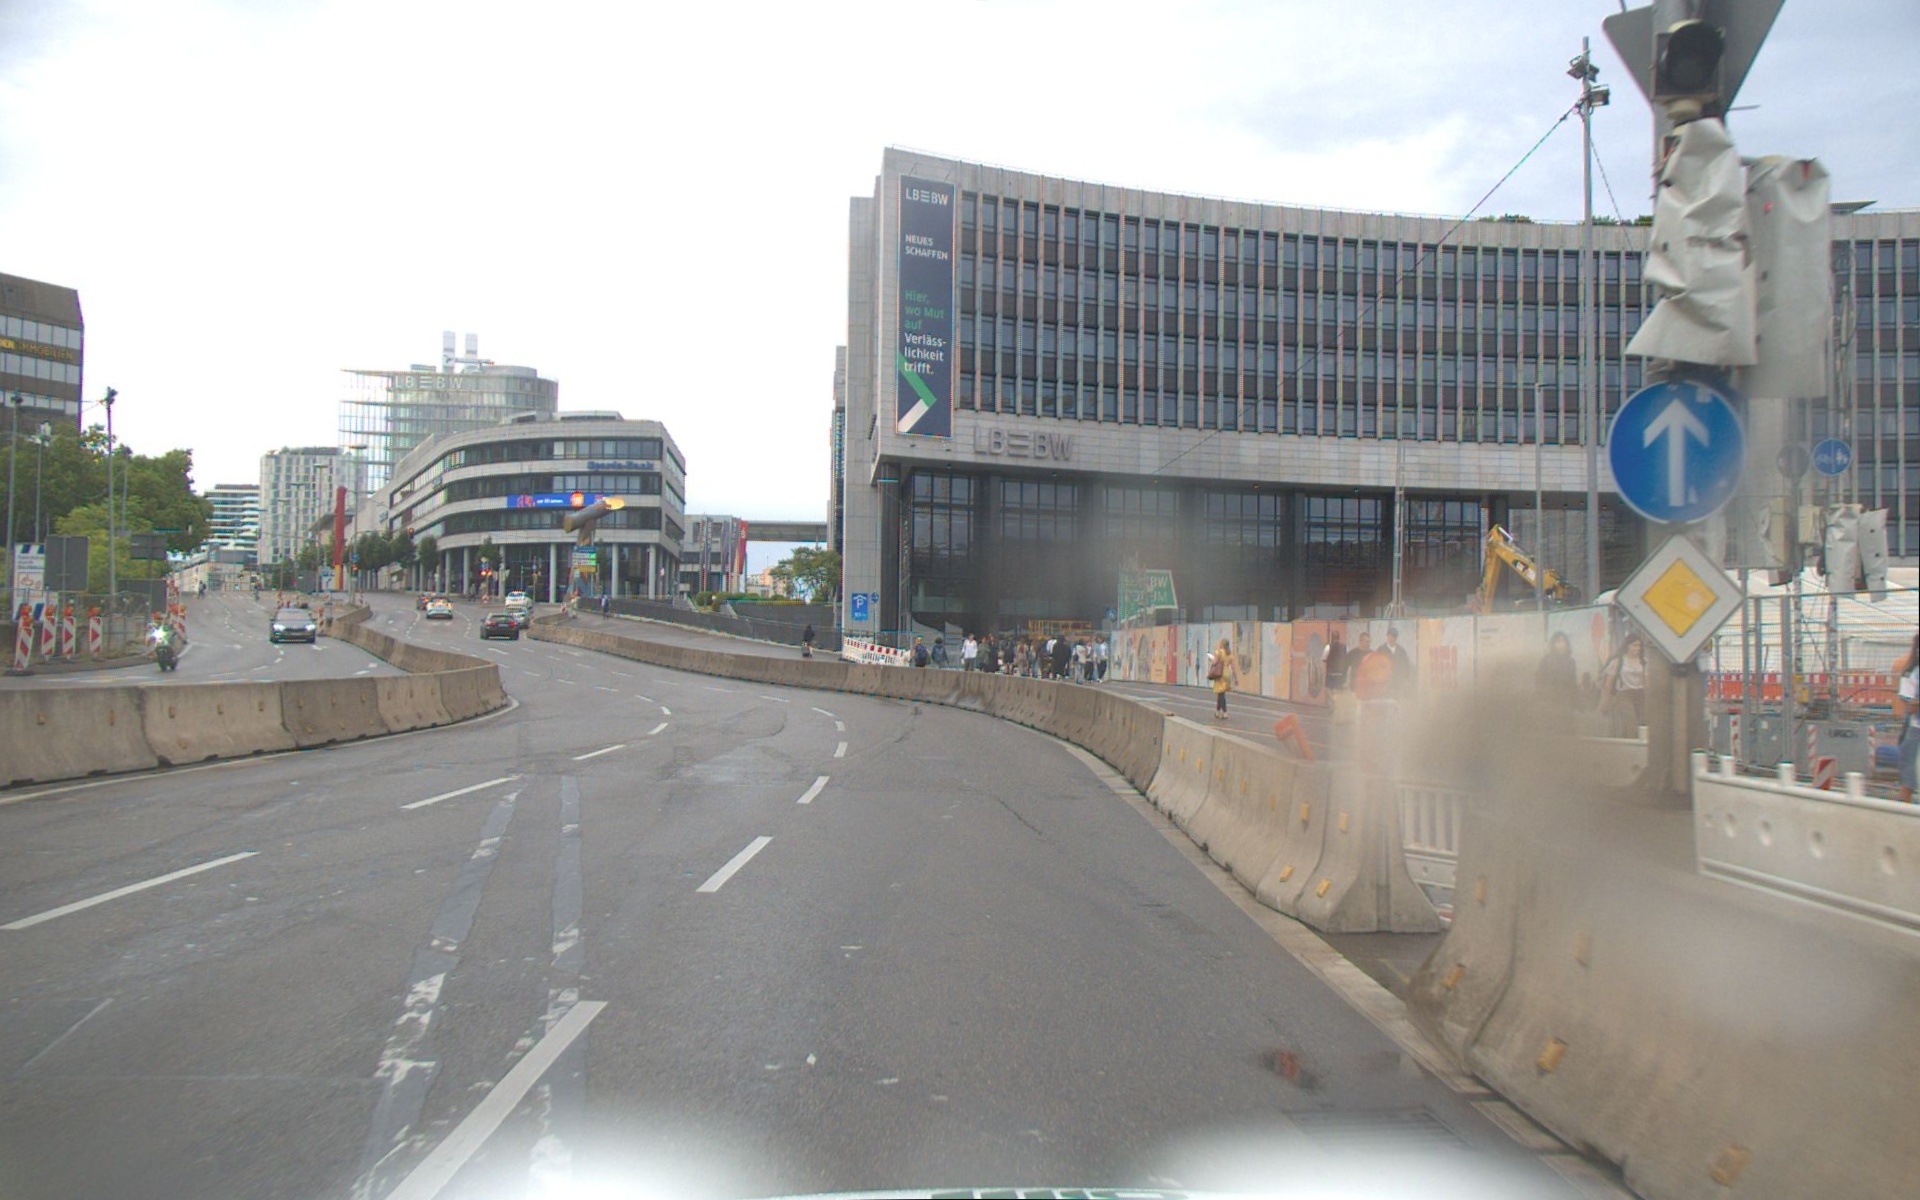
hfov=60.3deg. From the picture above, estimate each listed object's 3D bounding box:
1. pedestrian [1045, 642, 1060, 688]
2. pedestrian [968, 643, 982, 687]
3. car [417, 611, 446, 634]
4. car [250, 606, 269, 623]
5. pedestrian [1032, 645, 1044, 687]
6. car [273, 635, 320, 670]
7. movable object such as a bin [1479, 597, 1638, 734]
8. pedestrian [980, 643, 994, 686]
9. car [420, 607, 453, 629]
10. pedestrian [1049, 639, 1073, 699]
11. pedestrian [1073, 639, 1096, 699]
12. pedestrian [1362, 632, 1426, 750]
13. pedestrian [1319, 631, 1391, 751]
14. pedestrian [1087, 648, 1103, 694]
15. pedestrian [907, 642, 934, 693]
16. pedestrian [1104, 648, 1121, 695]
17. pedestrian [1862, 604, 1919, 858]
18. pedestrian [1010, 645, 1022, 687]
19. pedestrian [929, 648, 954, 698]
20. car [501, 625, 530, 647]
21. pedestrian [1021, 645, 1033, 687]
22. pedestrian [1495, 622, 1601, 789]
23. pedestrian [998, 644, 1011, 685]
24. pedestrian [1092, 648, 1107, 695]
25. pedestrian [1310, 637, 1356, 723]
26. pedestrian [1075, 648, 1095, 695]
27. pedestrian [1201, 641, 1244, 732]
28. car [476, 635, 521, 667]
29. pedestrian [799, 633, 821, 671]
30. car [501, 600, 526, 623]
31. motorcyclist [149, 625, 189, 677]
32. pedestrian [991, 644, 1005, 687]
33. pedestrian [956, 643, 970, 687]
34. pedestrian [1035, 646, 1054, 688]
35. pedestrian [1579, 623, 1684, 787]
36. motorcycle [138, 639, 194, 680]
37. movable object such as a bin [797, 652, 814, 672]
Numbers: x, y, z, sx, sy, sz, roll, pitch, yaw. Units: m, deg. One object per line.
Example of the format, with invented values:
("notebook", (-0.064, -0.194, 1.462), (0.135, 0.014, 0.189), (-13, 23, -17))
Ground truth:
("pedestrian", (3.774, 2.660, 67.322), (0.518, 1.850, 0.536), (1, -2, -2))
("pedestrian", (0.608, 2.617, 66.633), (0.439, 1.735, 0.646), (1, -2, -7))
("car", (-43.085, 1.837, 134.894), (1.961, 1.836, 4.247), (2, -2, -15))
("car", (-66.179, 1.380, 156.285), (1.580, 1.376, 3.726), (3, -5, -23))
("pedestrian", (3.288, 2.780, 69.851), (0.438, 1.735, 0.647), (1, -2, 7))
("car", (-29.853, 2.371, 74.387), (1.583, 1.376, 3.720), (3, -5, -27))
("movable object such as a bin", (18.744, 2.058, 51.940), (3.047, 4.101, 3.667), (2, -3, -25))
("pedestrian", (1.079, 2.599, 66.715), (0.444, 1.735, 0.646), (1, -2, -7))
("car", (-38.082, 1.328, 120.322), (1.720, 1.532, 3.720), (2, -3, -27))
("pedestrian", (3.540, 2.409, 57.999), (0.768, 2.049, 0.863), (1, -2, 5))
("pedestrian", (4.338, 2.394, 57.750), (0.768, 2.049, 0.863), (1, -2, 5))
("pedestrian", (7.085, 1.477, 27.021), (0.764, 1.895, 0.810), (1, -2, -6))
("pedestrian", (6.239, 1.436, 26.193), (0.803, 1.860, 1.110), (0, -3, -4))
("pedestrian", (5.165, 2.706, 63.488), (0.490, 1.735, 0.732), (1, -2, -3))
("pedestrian", (-1.334, 2.260, 55.382), (0.738, 1.671, 0.820), (1, -2, -14))
("pedestrian", (5.663, 2.653, 61.397), (0.492, 1.735, 0.646), (1, -2, -3))
("pedestrian", (7.519, 0.989, 12.566), (0.764, 1.895, 0.948), (1, -2, -6))
("pedestrian", (2.360, 2.786, 69.985), (0.438, 1.735, 0.647), (1, -2, 7))
("pedestrian", (-0.610, 2.448, 55.580), (0.647, 1.671, 0.820), (1, -2, -14))
("car", (-29.311, 2.338, 108.978), (1.795, 1.376, 3.848), (2, -1, -16))
("pedestrian", (2.823, 2.781, 69.923), (0.438, 1.735, 0.647), (1, -2, 7))
("pedestrian", (6.892, 1.222, 19.418), (0.853, 1.895, 0.947), (1, -2, -6))
("pedestrian", (1.889, 2.740, 70.042), (0.438, 1.735, 0.647), (1, -2, 7))
("pedestrian", (5.177, 2.645, 61.346), (0.439, 1.735, 0.646), (1, -2, -3))
("pedestrian", (8.331, 1.782, 36.941), (0.764, 1.895, 0.810), (0, -2, -6))
("pedestrian", (4.632, 2.637, 61.325), (0.613, 1.735, 0.646), (1, -2, -3))
("pedestrian", (5.564, 1.830, 35.089), (0.718, 1.887, 0.830), (1, -3, -4))
("car", (-24.863, 2.777, 89.033), (1.653, 1.535, 3.714), (3, -5, -25))
("pedestrian", (-7.230, 2.526, 79.904), (0.746, 1.822, 1.050), (2, -3, -23))
("car", (-37.610, 0.994, 139.321), (1.961, 1.836, 4.247), (2, -2, -15))
("motorcyclist", (-22.938, 1.494, 47.964), (0.783, 1.477, 0.823), (1, -2, -10))
("pedestrian", (1.542, 2.642, 66.777), (0.439, 1.735, 0.646), (1, -2, -7))
("pedestrian", (0.125, 2.611, 66.573), (0.439, 1.735, 0.646), (1, -2, -7))
("pedestrian", (3.509, 2.759, 68.440), (0.507, 1.735, 0.566), (3, -2, -39))
("pedestrian", (8.022, 1.235, 19.783), (0.764, 1.895, 1.057), (1, -2, -5))
("motorcycle", (-22.971, 1.725, 47.904), (0.853, 1.169, 2.149), (1, -2, -9))
("movable object such as a bin", (-7.406, 2.967, 79.422), (0.590, 0.950, 0.736), (3, -3, -23))
